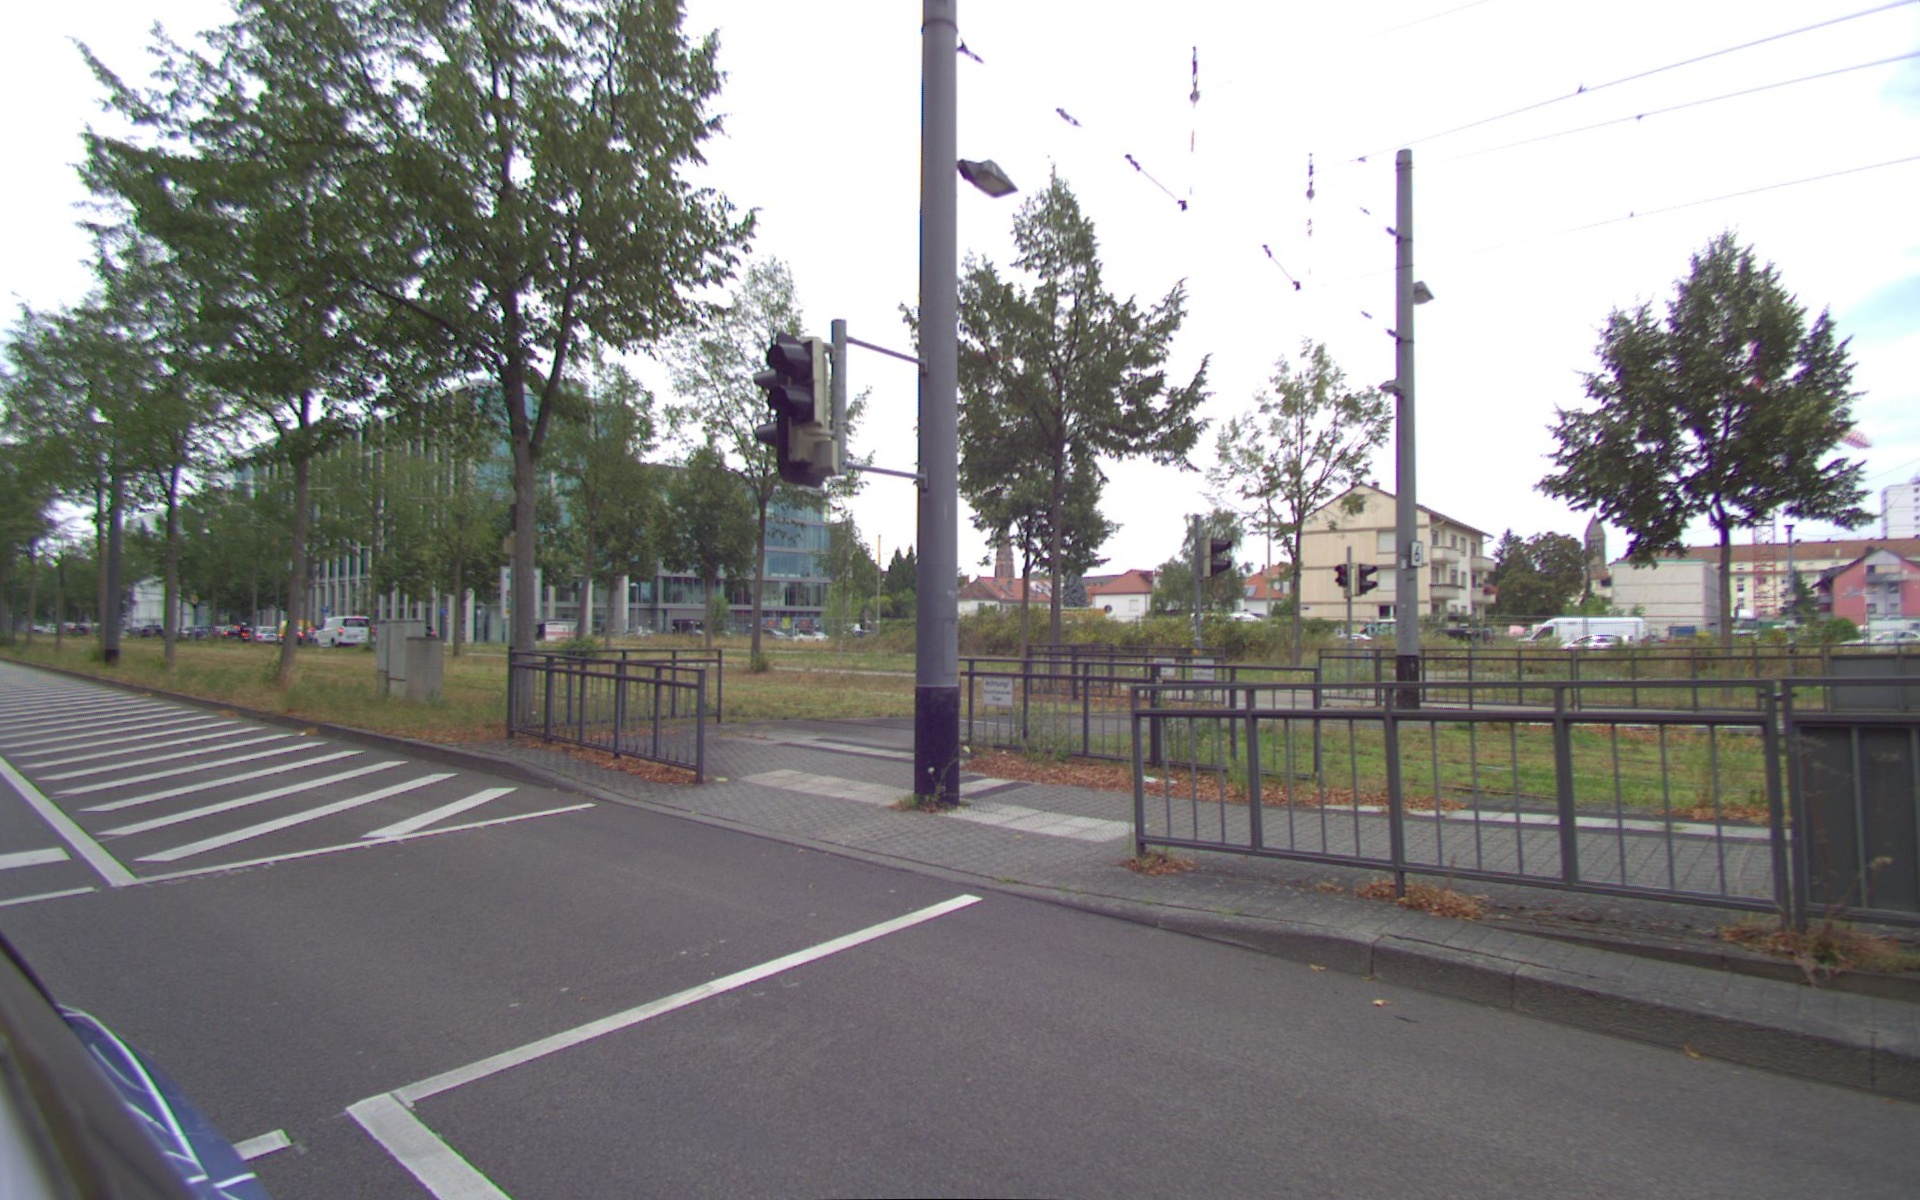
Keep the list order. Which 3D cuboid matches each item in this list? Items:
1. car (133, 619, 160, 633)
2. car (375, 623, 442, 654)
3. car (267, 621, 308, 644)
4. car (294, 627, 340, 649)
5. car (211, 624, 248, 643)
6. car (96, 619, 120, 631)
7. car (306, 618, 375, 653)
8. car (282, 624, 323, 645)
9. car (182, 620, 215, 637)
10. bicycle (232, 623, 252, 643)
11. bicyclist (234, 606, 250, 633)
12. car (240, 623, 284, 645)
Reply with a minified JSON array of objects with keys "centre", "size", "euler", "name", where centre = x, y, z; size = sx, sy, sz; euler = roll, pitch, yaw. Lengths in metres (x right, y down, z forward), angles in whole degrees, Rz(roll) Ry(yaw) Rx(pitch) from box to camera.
[{"centre":[-87.596,2.826,108.952],"size":[3.865,1.468,1.729],"euler":[-1,-2,43],"name":"car"},{"centre":[-32.215,2.206,59.061],"size":[4.688,1.669,1.809],"euler":[-1,-1,40],"name":"car"},{"centre":[-53.517,2.543,80.550],"size":[1.929,1.785,4.447],"euler":[2,-2,-44],"name":"car"},{"centre":[-44.894,2.645,70.639],"size":[3.864,1.508,1.730],"euler":[-1,-2,42],"name":"car"},{"centre":[-58.606,2.674,81.191],"size":[3.866,1.468,1.729],"euler":[-1,-2,44],"name":"car"},{"centre":[-103.631,3.000,123.113],"size":[3.865,1.468,1.729],"euler":[-1,-2,43],"name":"car"},{"centre":[-35.703,2.012,58.256],"size":[5.094,1.959,1.972],"euler":[-1,-2,42],"name":"car"},{"centre":[-48.824,2.536,75.110],"size":[3.866,1.468,1.729],"euler":[-1,-2,44],"name":"car"},{"centre":[-68.817,2.581,91.421],"size":[3.865,1.468,1.729],"euler":[-1,-2,43],"name":"car"},{"centre":[-55.458,2.558,78.120],"size":[2.356,1.499,0.702],"euler":[-2,0,41],"name":"bicycle"},{"centre":[-55.396,1.484,78.059],"size":[0.994,2.029,0.733],"euler":[-1,1,39],"name":"bicyclist"},{"centre":[-49.404,2.371,71.606],"size":[3.864,1.508,1.730],"euler":[-1,-2,42],"name":"car"}]
